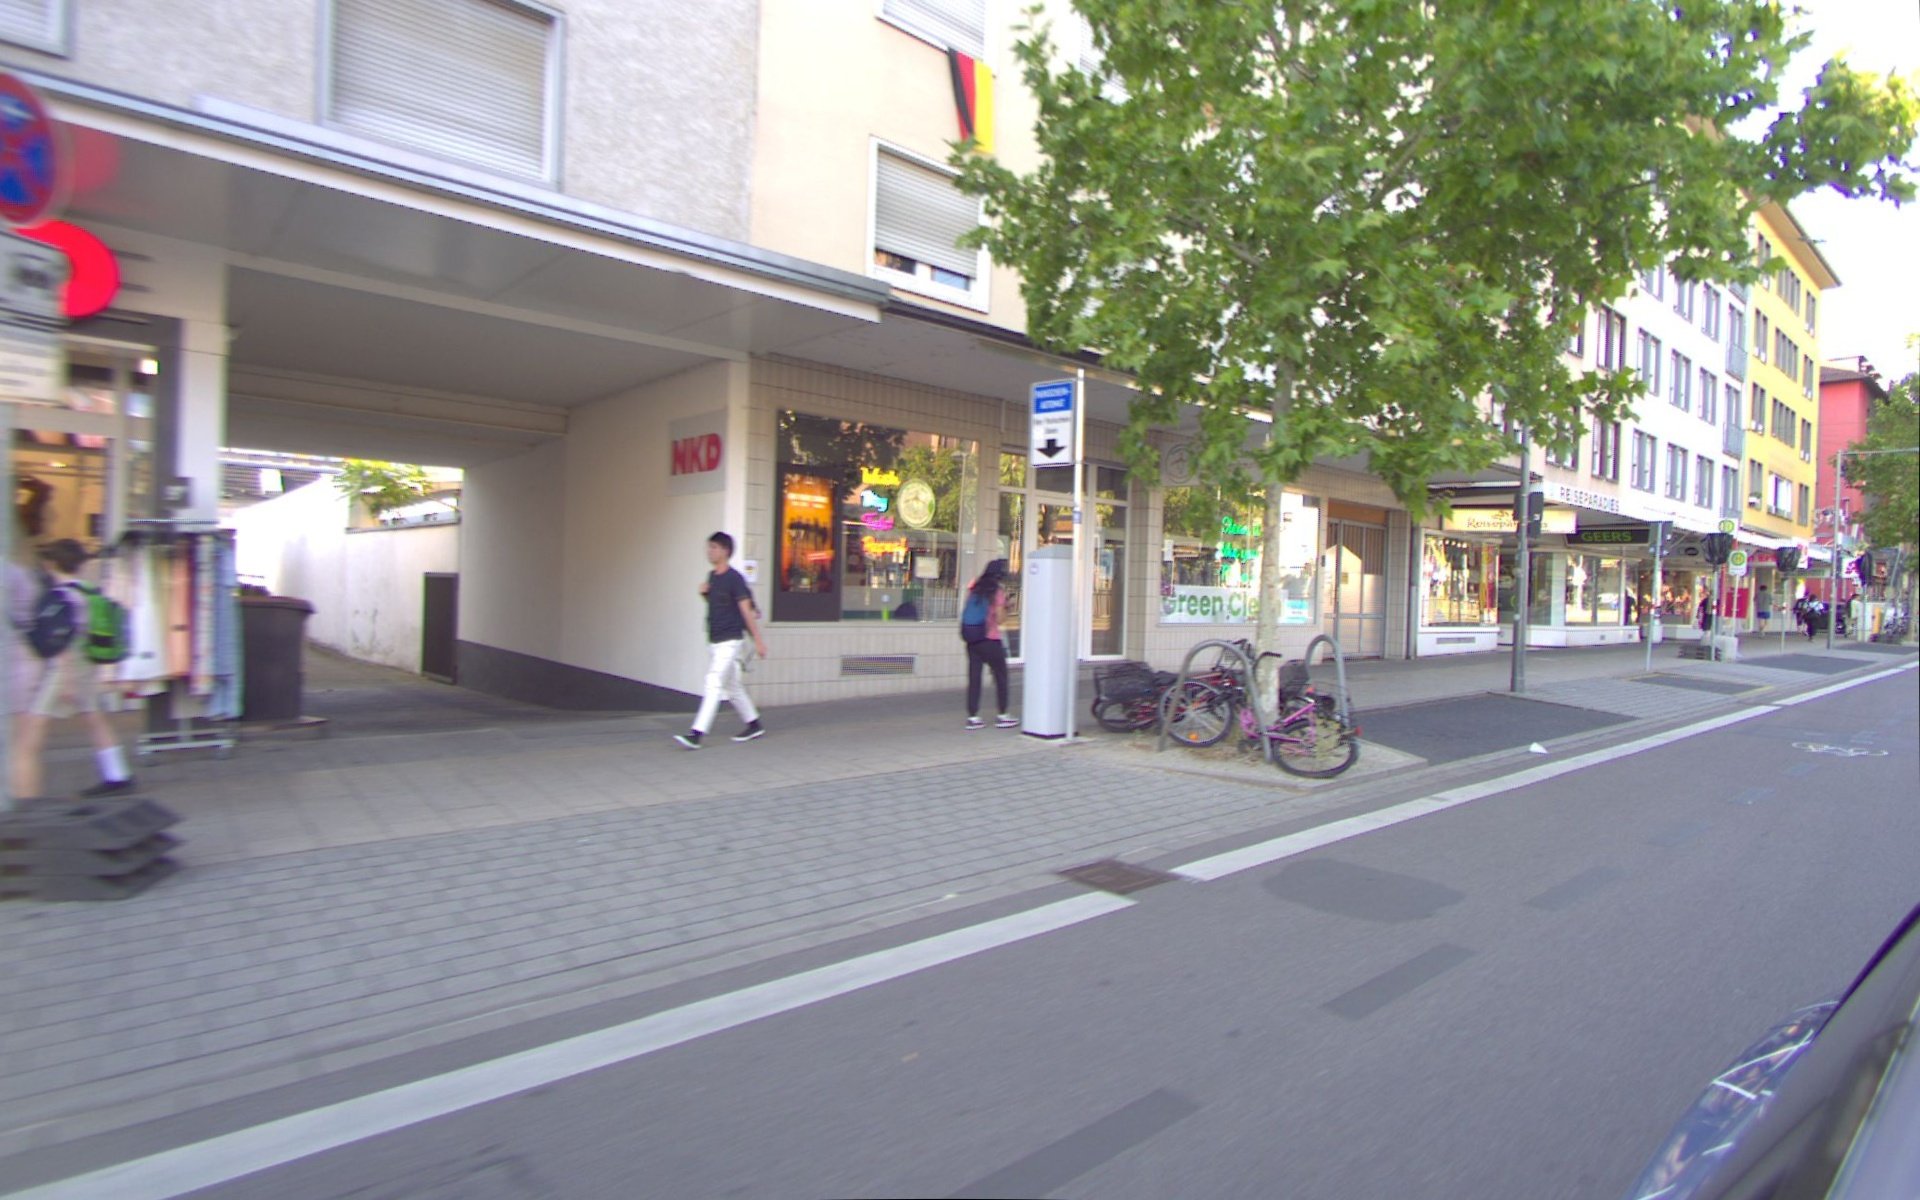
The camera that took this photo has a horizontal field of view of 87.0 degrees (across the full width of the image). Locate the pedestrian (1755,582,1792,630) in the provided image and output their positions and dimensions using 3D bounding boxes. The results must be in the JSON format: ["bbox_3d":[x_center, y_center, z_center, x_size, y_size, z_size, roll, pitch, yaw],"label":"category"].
[{"bbox_3d":[28.860,0.214,35.906,0.900,1.675,0.851,-1,0,-41],"label":"pedestrian"}]

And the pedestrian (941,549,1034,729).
[{"bbox_3d":[0.253,0.339,9.386,0.637,1.587,0.490,0,3,-40],"label":"pedestrian"}]

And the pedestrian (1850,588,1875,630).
[{"bbox_3d":[36.011,0.350,40.376,0.640,1.675,0.634,0,0,-41],"label":"pedestrian"}]

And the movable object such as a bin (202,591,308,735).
[{"bbox_3d":[-6.591,0.571,9.463,0.756,1.275,0.591,0,-4,-41],"label":"movable object such as a bin"}]

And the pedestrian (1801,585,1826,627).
[{"bbox_3d":[33.797,0.233,40.070,0.640,1.675,0.634,0,0,-41],"label":"pedestrian"}]

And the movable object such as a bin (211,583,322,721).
[{"bbox_3d":[-6.085,0.464,8.878,0.709,1.136,0.769,2,-6,-40],"label":"movable object such as a bin"}]

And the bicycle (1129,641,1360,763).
[{"bbox_3d":[2.358,0.807,8.430,1.744,0.788,0.696,3,1,27],"label":"bicycle"}]

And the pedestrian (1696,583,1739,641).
[{"bbox_3d":[22.654,0.348,30.259,0.900,1.675,0.851,-1,0,-41],"label":"pedestrian"}]

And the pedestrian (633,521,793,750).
[{"bbox_3d":[-1.960,0.248,8.058,1.051,1.695,0.569,0,3,-41],"label":"pedestrian"}]

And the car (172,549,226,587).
[{"bbox_3d":[-36.015,-1.491,47.848,1.964,1.660,3.996,-1,0,-38],"label":"car"}]

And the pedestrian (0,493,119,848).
[{"bbox_3d":[-4.641,0.313,4.871,0.880,1.649,0.547,1,2,-41],"label":"pedestrian"}]

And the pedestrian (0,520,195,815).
[{"bbox_3d":[-4.862,0.340,5.656,0.880,1.520,0.542,1,2,-41],"label":"pedestrian"}]

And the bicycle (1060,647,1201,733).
[{"bbox_3d":[1.631,0.796,9.433,0.831,0.579,1.745,3,2,26],"label":"bicycle"}]

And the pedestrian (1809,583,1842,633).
[{"bbox_3d":[29.864,0.271,34.936,0.647,1.695,0.693,0,3,-41],"label":"pedestrian"}]
